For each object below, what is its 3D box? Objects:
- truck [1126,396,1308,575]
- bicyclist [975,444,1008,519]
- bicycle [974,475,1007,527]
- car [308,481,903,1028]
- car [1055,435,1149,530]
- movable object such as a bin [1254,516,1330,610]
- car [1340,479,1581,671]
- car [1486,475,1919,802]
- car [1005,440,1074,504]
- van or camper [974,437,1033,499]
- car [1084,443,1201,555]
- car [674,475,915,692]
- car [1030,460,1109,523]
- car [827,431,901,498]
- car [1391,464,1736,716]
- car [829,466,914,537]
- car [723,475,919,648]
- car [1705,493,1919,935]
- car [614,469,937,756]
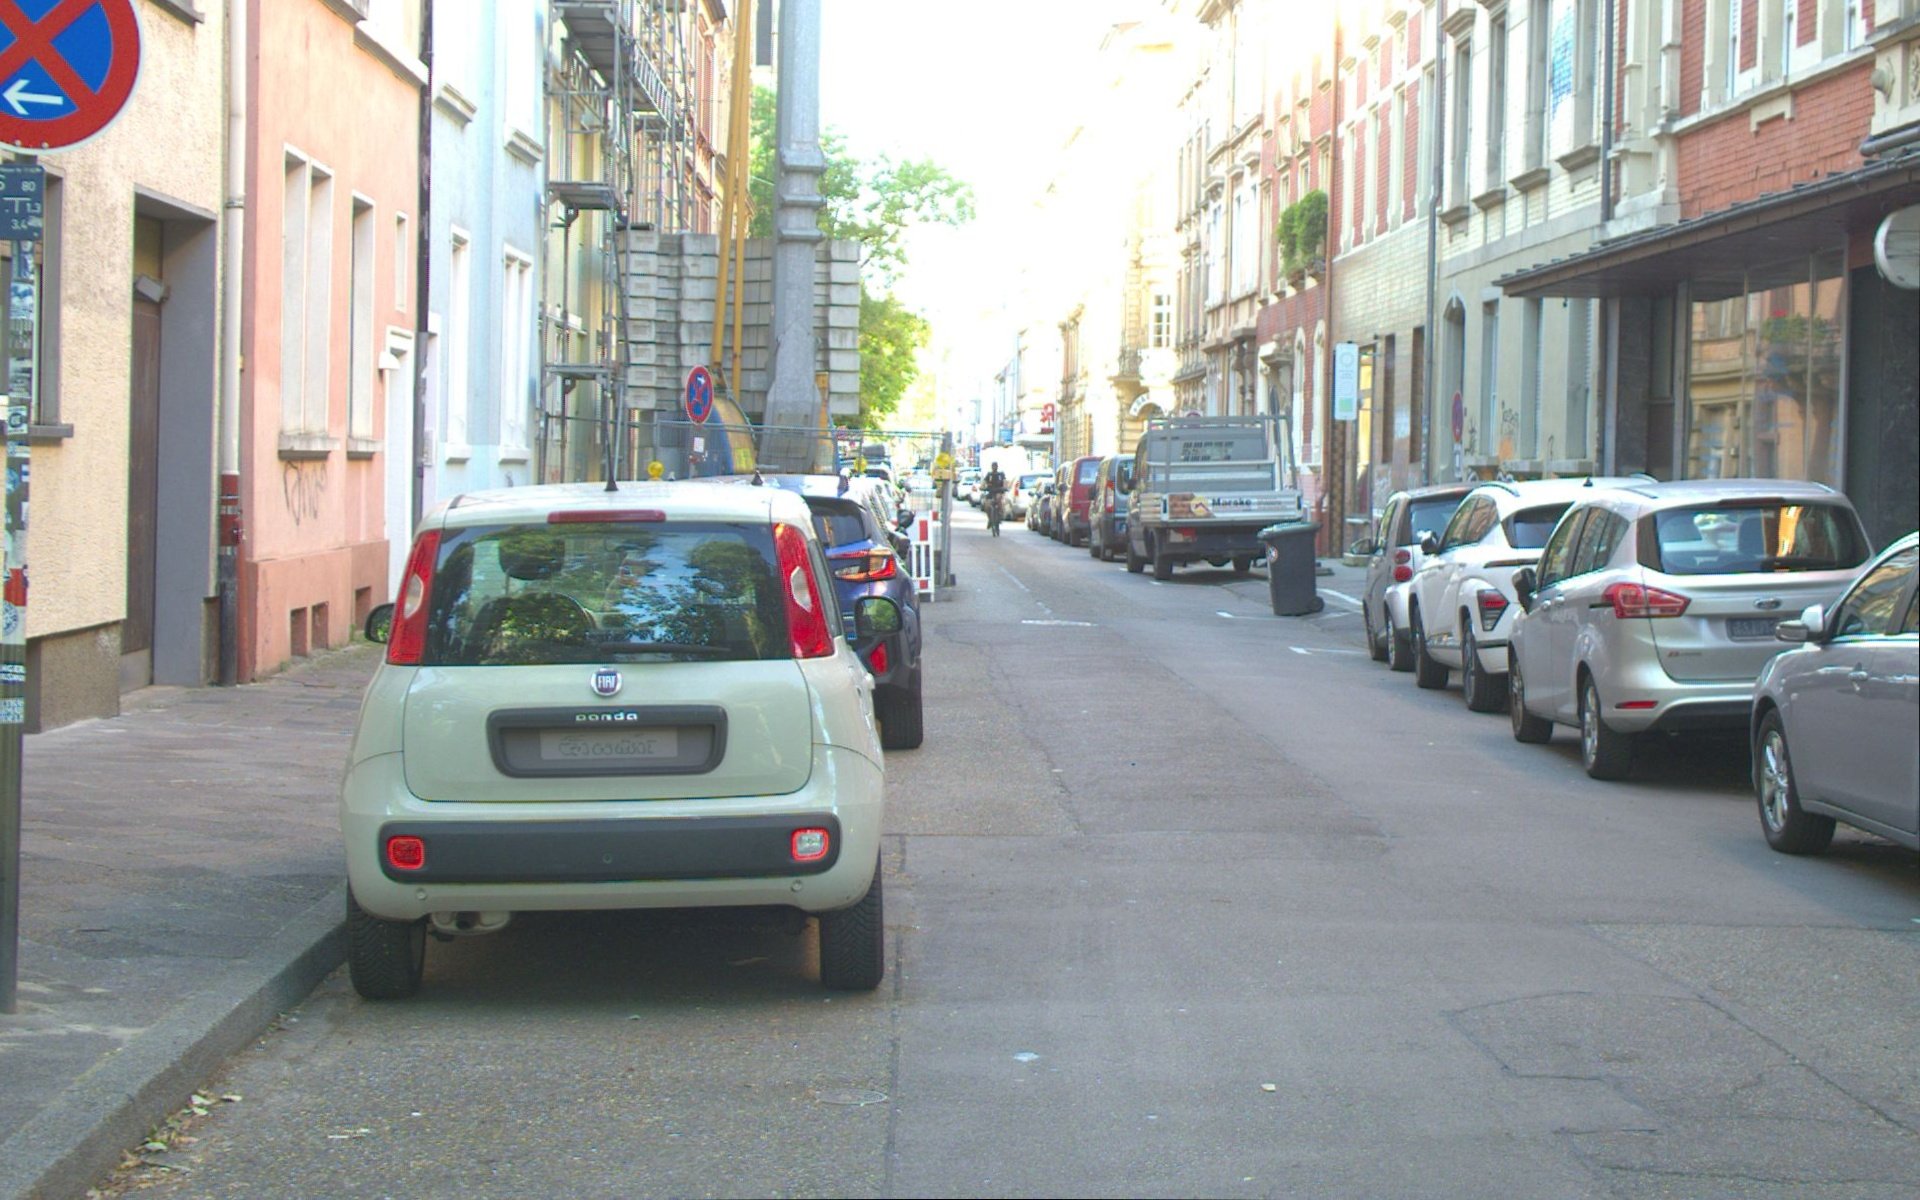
[{"bbox_3d":[3.854,-1.767,52.482,2.189,2.598,5.235,0,2,-2],"label":"truck"},{"bbox_3d":[0.754,-2.867,83.017,0.730,1.755,0.835,2,3,-1],"label":"bicyclist"},{"bbox_3d":[0.732,-2.398,83.036,0.724,1.182,2.043,2,3,-1],"label":"bicycle"},{"bbox_3d":[-1.109,0.373,11.665,1.674,1.534,3.870,0,2,-3],"label":"car"},{"bbox_3d":[3.089,-2.583,75.463,1.674,2.024,3.870,1,2,-3],"label":"car"},{"bbox_3d":[3.876,-0.437,40.183,0.795,1.052,0.660,1,2,-1],"label":"movable object such as a bin"},{"bbox_3d":[4.372,-0.275,30.497,1.597,1.555,3.814,1,2,1],"label":"car"},{"bbox_3d":[4.148,0.130,19.640,1.640,1.650,3.870,1,2,0],"label":"car"},{"bbox_3d":[2.600,-4.234,113.355,1.993,2.006,4.001,2,2,-2],"label":"car"},{"bbox_3d":[1.776,-5.459,141.944,1.993,2.499,4.203,0,2,-5],"label":"van or camper"},{"bbox_3d":[3.303,-1.869,62.985,1.674,1.956,4.110,1,2,-3],"label":"car"},{"bbox_3d":[-1.212,-0.196,26.390,1.675,1.506,4.415,1,2,-1],"label":"car"},{"bbox_3d":[2.806,-2.808,88.949,1.674,1.565,3.870,1,2,-3],"label":"car"},{"bbox_3d":[-2.353,-3.282,83.533,1.674,1.565,3.870,1,2,-3],"label":"car"},{"bbox_3d":[4.328,-0.146,25.282,1.746,1.669,4.341,1,2,0],"label":"car"},{"bbox_3d":[-1.911,-2.119,73.397,1.674,1.440,3.870,1,2,-3],"label":"car"},{"bbox_3d":[-1.250,-0.416,31.942,1.675,1.472,4.609,1,2,-1],"label":"car"},{"bbox_3d":[4.330,0.410,13.509,1.721,1.556,4.399,2,2,-1],"label":"car"},{"bbox_3d":[-1.111,-0.014,20.648,1.729,1.534,4.379,0,2,-3],"label":"car"}]
